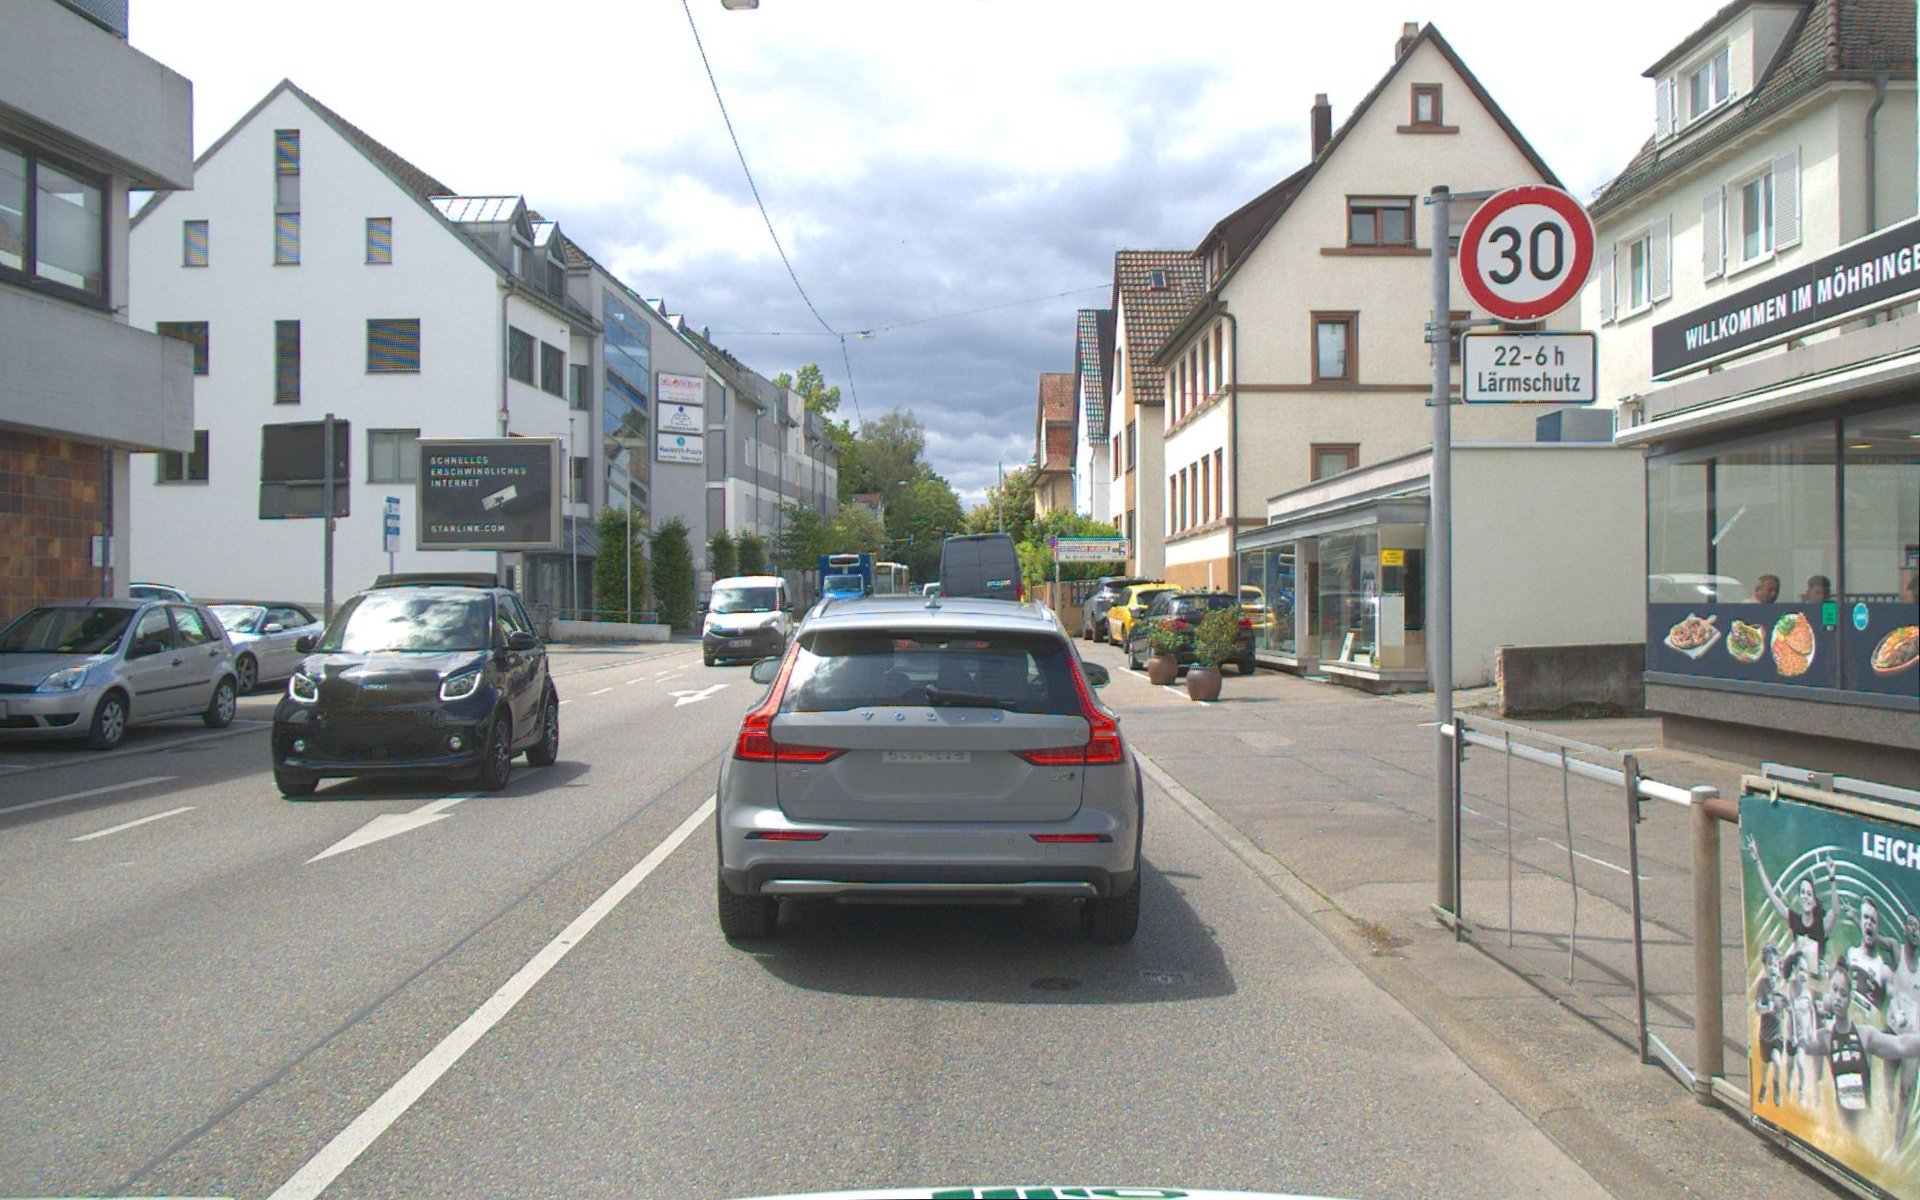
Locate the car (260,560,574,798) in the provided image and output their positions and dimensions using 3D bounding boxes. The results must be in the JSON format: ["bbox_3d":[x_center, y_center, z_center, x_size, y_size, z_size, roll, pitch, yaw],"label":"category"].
[{"bbox_3d":[-4.189,0.549,13.181,1.643,1.664,2.832,-1,0,-3],"label":"car"}]

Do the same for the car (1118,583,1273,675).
[{"bbox_3d":[4.105,0.459,29.566,1.929,1.473,4.533,-1,0,-3],"label":"car"}]

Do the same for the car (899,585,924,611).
[{"bbox_3d":[-4.193,-0.146,143.767,2.063,2.158,4.764,-1,0,-1],"label":"car"}]

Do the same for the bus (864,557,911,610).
[{"bbox_3d":[-4.610,-1.035,106.960,2.660,3.219,8.068,-1,0,0],"label":"bus"}]

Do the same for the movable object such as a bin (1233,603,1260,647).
[{"bbox_3d":[6.249,0.536,36.063,0.490,0.941,0.598,-1,0,3],"label":"movable object such as a bin"}]

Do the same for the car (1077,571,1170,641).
[{"bbox_3d":[4.169,0.128,42.864,1.823,1.640,4.585,-2,1,-1],"label":"car"}]

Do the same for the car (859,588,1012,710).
[{"bbox_3d":[-0.280,0.579,22.153,1.857,1.472,3.969,0,0,1],"label":"car"}]

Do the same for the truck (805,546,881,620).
[{"bbox_3d":[-5.209,-0.764,75.050,2.795,3.147,8.089,-1,0,0],"label":"truck"}]

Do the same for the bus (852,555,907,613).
[{"bbox_3d":[-4.672,-0.912,97.894,2.627,3.219,10.185,-1,0,1],"label":"bus"}]

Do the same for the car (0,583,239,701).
[{"bbox_3d":[-13.950,0.621,26.808,1.910,1.647,4.933,-3,1,6],"label":"car"}]

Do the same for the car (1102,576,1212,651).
[{"bbox_3d":[4.471,0.267,38.080,1.839,1.472,4.306,-1,3,-3],"label":"car"}]

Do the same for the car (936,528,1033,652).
[{"bbox_3d":[0.543,-0.246,41.037,2.207,2.844,5.568,-1,0,-1],"label":"car"}]

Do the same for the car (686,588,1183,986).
[{"bbox_3d":[-0.058,0.688,8.205,1.857,1.479,3.969,0,0,1],"label":"car"}]

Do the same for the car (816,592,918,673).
[{"bbox_3d":[-1.842,0.589,32.247,1.859,1.472,3.965,0,0,-4],"label":"car"}]

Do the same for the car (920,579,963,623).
[{"bbox_3d":[-0.859,0.018,79.588,1.952,2.049,4.001,0,0,1],"label":"car"}]

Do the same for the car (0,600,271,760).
[{"bbox_3d":[-9.093,0.750,17.580,1.686,1.447,4.149,1,0,2],"label":"car"}]

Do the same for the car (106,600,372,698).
[{"bbox_3d":[-11.379,0.711,26.542,1.910,1.381,4.857,-1,0,3],"label":"car"}]

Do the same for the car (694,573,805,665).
[{"bbox_3d":[-4.528,0.381,36.064,1.906,1.852,4.277,-1,0,-1],"label":"car"}]
